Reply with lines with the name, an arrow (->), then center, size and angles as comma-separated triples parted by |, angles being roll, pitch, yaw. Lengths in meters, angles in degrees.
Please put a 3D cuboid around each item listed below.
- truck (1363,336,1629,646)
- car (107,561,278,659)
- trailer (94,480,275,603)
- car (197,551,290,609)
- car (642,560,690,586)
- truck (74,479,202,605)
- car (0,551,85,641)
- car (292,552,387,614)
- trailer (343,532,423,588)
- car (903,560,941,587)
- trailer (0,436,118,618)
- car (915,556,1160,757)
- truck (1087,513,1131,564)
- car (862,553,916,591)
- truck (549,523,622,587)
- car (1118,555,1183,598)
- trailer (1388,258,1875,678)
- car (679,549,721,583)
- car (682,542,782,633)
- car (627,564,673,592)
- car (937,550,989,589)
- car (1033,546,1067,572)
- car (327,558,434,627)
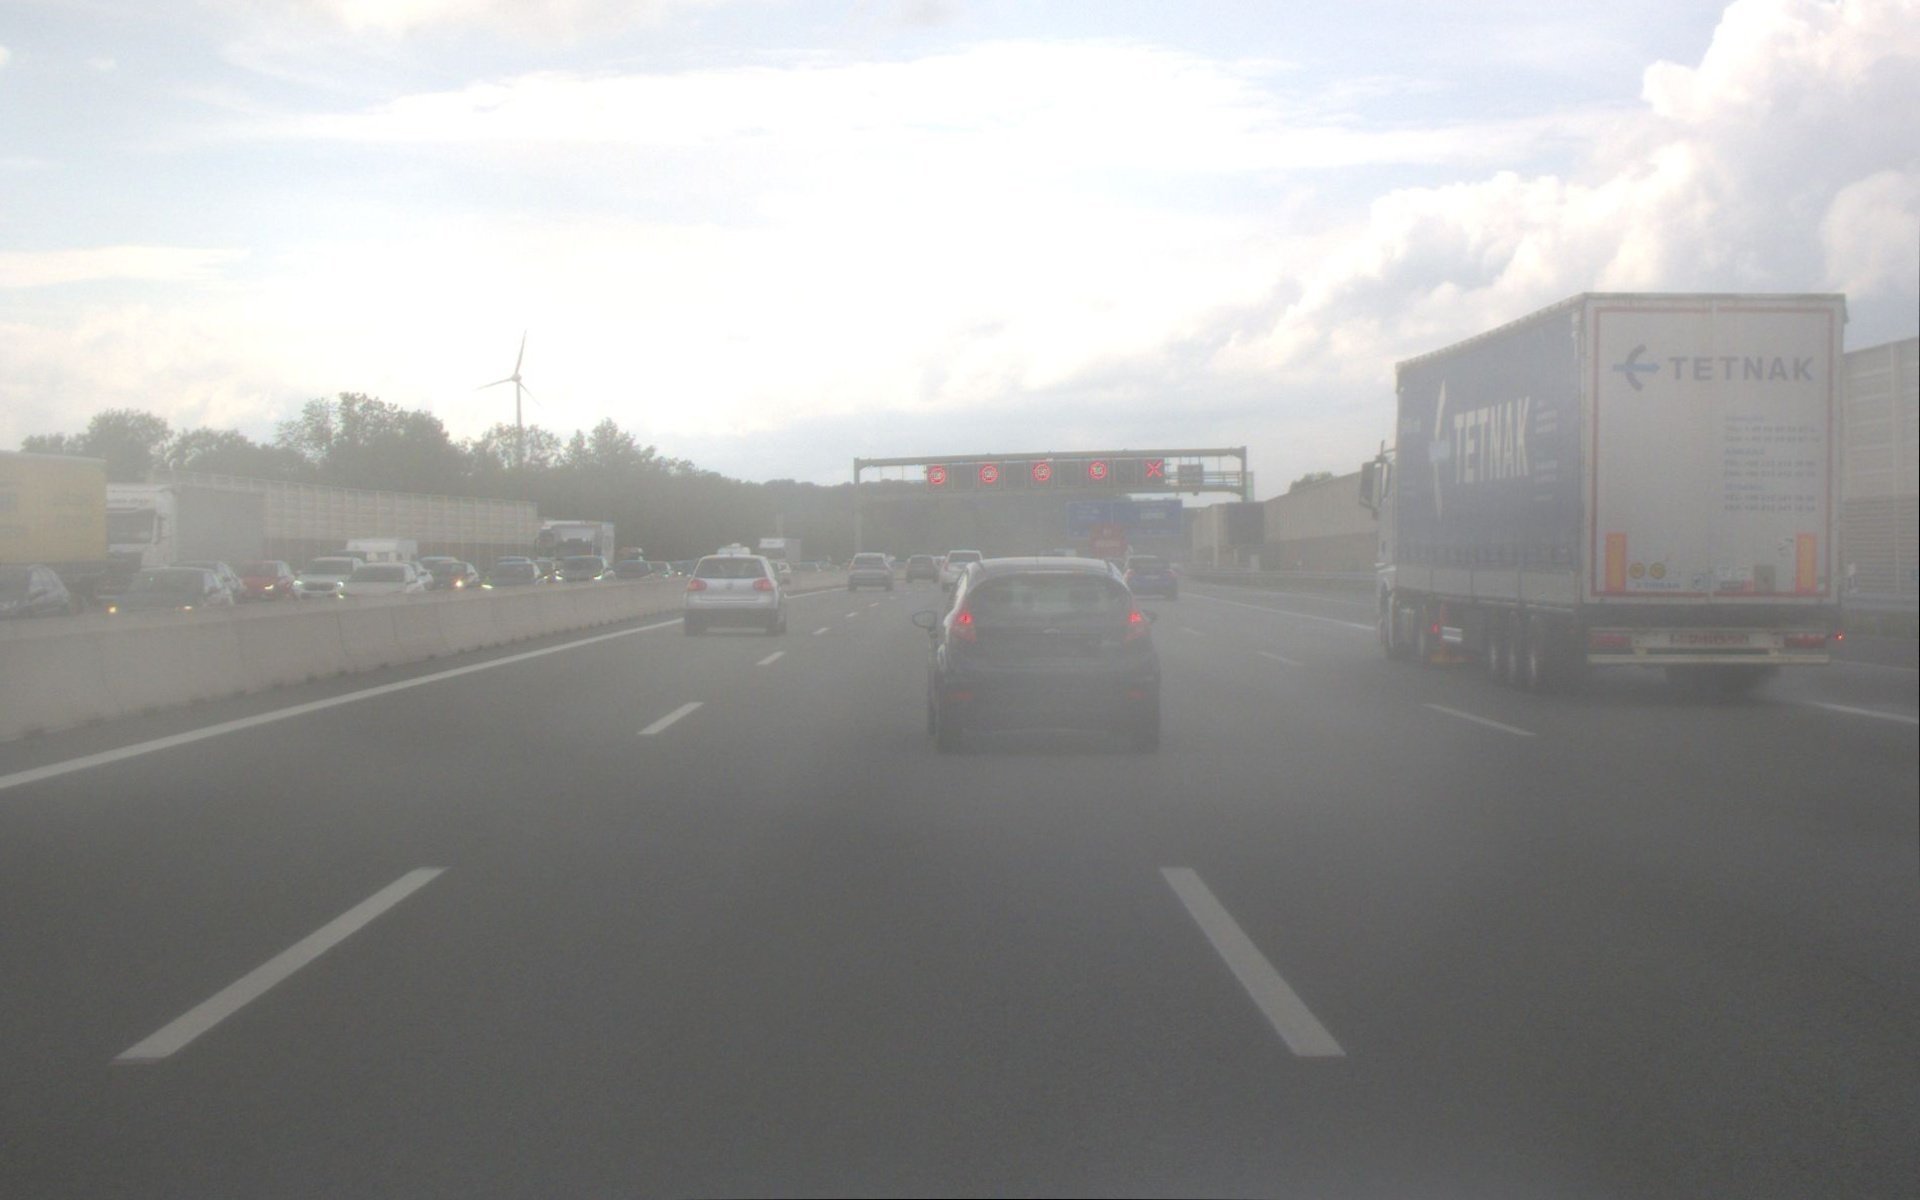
truck -> 7.298, -1.449, 47.533 | 2.745, 4.021, 5.726 | 0, 1, 0
car -> -14.609, 0.146, 65.771 | 2.061, 1.749, 5.808 | 0, 1, -1
trailer -> -26.678, -1.981, 119.053 | 2.761, 4.018, 14.453 | 0, 1, 1
car -> -22.853, -0.658, 109.796 | 2.061, 1.810, 4.779 | 0, 1, -1
car -> -16.626, -1.518, 194.385 | 2.060, 1.486, 4.997 | 0, 0, 3
truck -> -26.791, -1.882, 112.303 | 2.745, 4.021, 5.726 | 0, 1, 1
car -> -18.656, -0.108, 67.176 | 2.061, 1.694, 4.411 | 0, 1, -1
car -> -18.607, -0.528, 103.236 | 2.061, 1.810, 4.779 | 0, 1, -1
trailer -> -26.004, -1.828, 155.140 | 2.459, 2.487, 6.085 | 0, 1, 1
car -> -2.250, -1.593, 205.955 | 1.968, 1.555, 4.432 | -1, 0, 3
trailer -> -22.586, -1.655, 79.514 | 2.761, 4.018, 14.453 | 0, 1, 0
car -> 0.529, 0.378, 26.716 | 1.717, 1.412, 4.279 | 0, 1, -1
truck -> 11.051, -4.494, 253.860 | 3.153, 3.589, 12.698 | 1, 1, 3
car -> -3.016, -1.183, 146.898 | 1.968, 1.555, 4.432 | -1, 0, 3
truck -> -21.107, -2.533, 194.094 | 2.696, 3.515, 9.995 | 1, 1, 2
car -> 6.501, -0.804, 117.899 | 1.950, 1.413, 4.232 | 0, 0, 0
trailer -> 7.336, -1.343, 40.158 | 2.761, 4.018, 14.453 | 0, 1, 0
car -> -13.416, -1.765, 177.513 | 1.873, 1.694, 4.222 | 0, 1, 0
car -> -4.188, -0.266, 63.740 | 1.717, 1.618, 4.279 | 0, 1, -2
car -> -17.520, -1.242, 194.520 | 2.060, 1.594, 4.997 | 0, 0, 1
car -> 0.150, -1.293, 145.880 | 1.968, 1.555, 4.432 | -1, 0, 3
car -> 5.850, -2.667, 223.203 | 1.968, 1.555, 4.433 | 1, 2, 4
car -> -14.673, -0.211, 87.242 | 2.061, 1.694, 4.411 | 0, 1, -1
